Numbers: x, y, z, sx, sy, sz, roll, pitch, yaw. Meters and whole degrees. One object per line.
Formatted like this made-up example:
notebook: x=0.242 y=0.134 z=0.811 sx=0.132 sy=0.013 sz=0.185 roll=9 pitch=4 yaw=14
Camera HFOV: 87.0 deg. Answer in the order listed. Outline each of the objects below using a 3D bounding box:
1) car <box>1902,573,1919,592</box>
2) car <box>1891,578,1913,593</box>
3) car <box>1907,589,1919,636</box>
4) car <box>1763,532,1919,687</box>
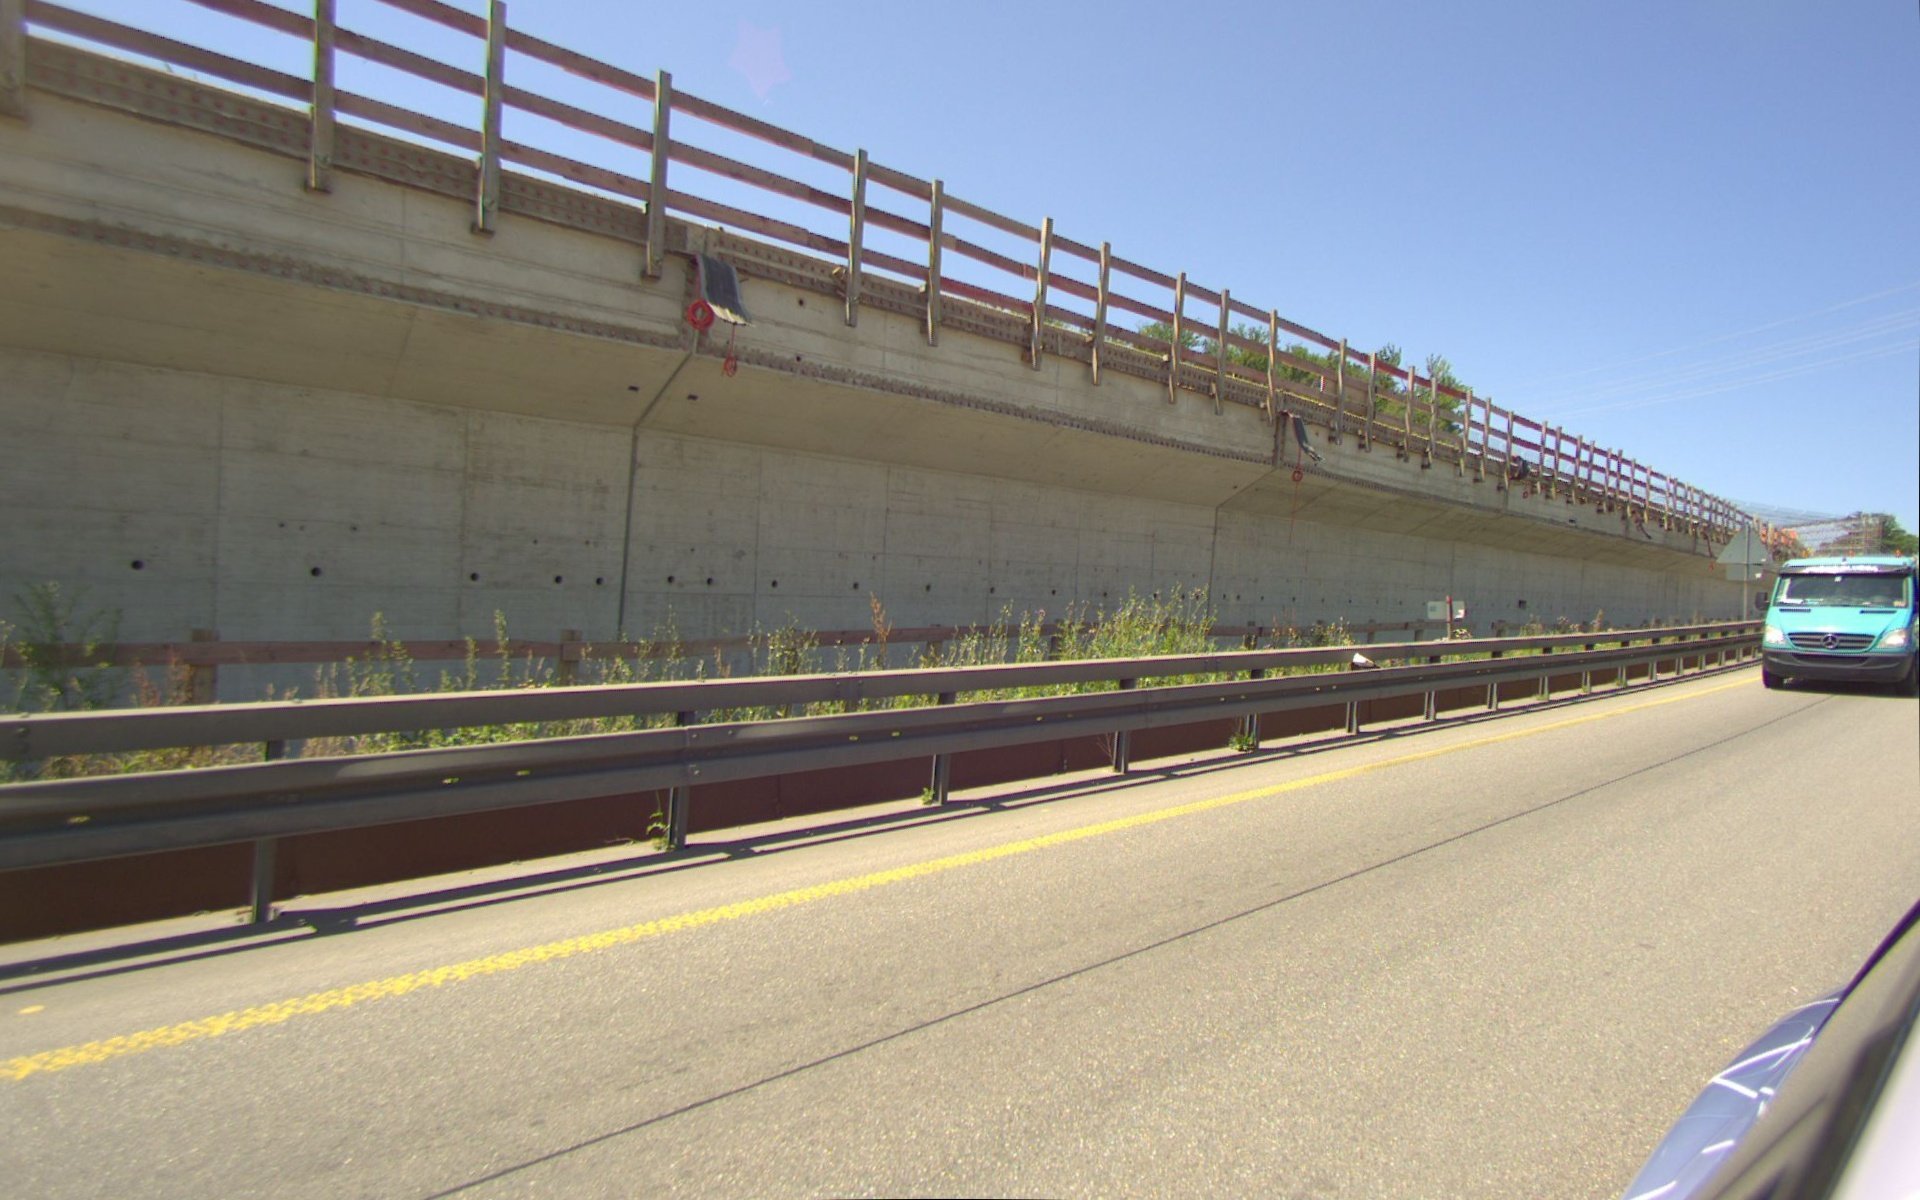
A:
car: x=89.722 y=-1.656 z=95.114 sx=3.289 sy=1.691 sz=1.584 roll=-1 pitch=1 yaw=-43
car: x=105.670 y=-1.632 z=113.533 sx=3.289 sy=1.697 sz=1.584 roll=-1 pitch=1 yaw=-43
car: x=31.259 y=0.376 z=31.999 sx=3.526 sy=1.426 sz=1.736 roll=-2 pitch=1 yaw=-44
car: x=16.468 y=0.055 z=18.258 sx=6.788 sy=2.354 sz=2.213 roll=-1 pitch=2 yaw=-44
